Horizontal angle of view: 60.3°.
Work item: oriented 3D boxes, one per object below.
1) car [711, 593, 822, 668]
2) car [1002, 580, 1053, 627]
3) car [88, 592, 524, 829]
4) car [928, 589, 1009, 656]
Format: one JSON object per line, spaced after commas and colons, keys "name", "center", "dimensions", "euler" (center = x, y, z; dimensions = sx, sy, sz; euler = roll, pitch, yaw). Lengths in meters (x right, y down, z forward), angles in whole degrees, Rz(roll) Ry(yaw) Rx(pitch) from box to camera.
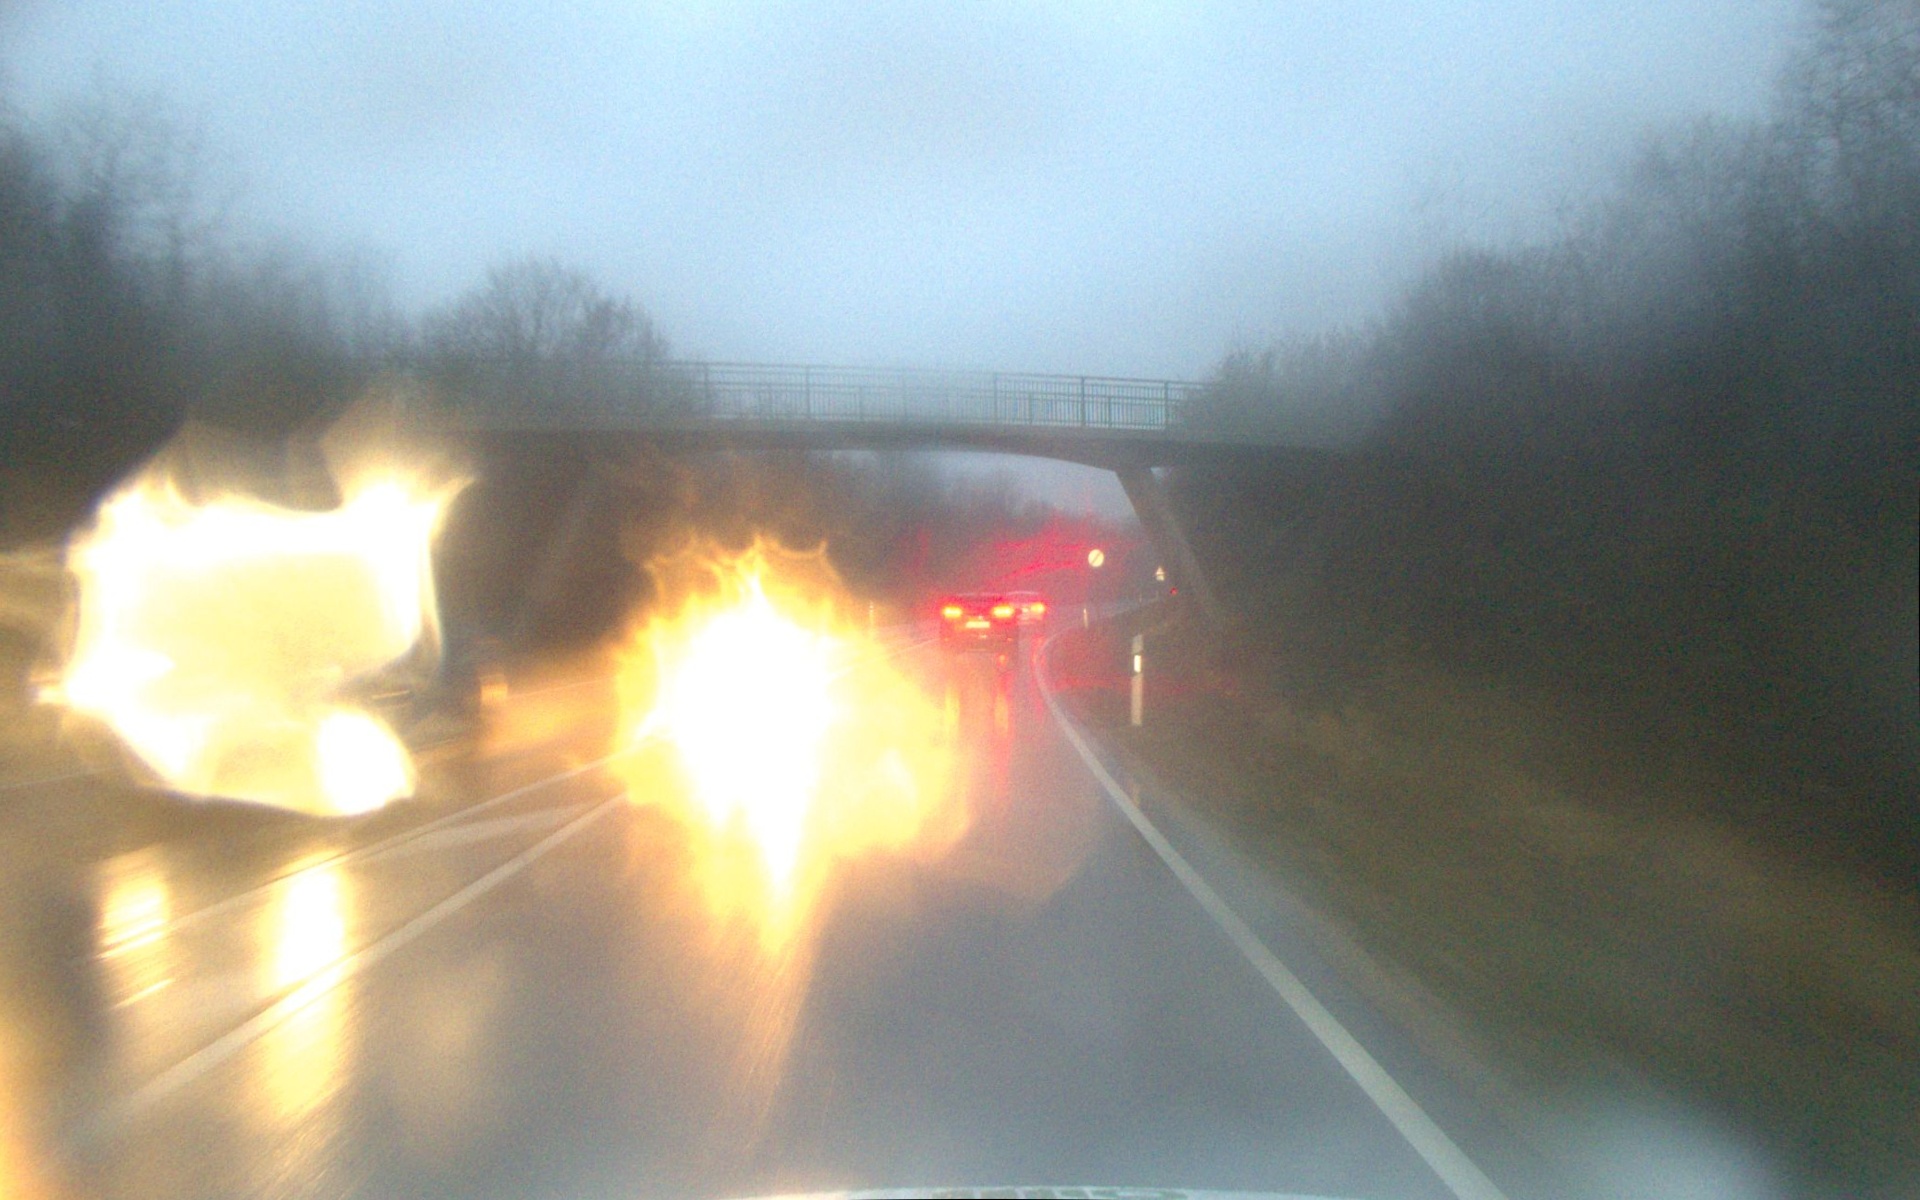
{"name": "car", "center": [-4.024, 0.603, 35.074], "dimensions": [1.767, 1.479, 4.379], "euler": [0, 0, 1]}
{"name": "car", "center": [2.579, 0.131, 62.430], "dimensions": [1.643, 1.704, 4.101], "euler": [-1, 0, 6]}
{"name": "car", "center": [-5.227, 0.812, 13.973], "dimensions": [1.821, 1.676, 4.468], "euler": [0, -1, 1]}
{"name": "car", "center": [0.246, 0.479, 37.800], "dimensions": [1.643, 1.414, 4.100], "euler": [-1, 0, 3]}
